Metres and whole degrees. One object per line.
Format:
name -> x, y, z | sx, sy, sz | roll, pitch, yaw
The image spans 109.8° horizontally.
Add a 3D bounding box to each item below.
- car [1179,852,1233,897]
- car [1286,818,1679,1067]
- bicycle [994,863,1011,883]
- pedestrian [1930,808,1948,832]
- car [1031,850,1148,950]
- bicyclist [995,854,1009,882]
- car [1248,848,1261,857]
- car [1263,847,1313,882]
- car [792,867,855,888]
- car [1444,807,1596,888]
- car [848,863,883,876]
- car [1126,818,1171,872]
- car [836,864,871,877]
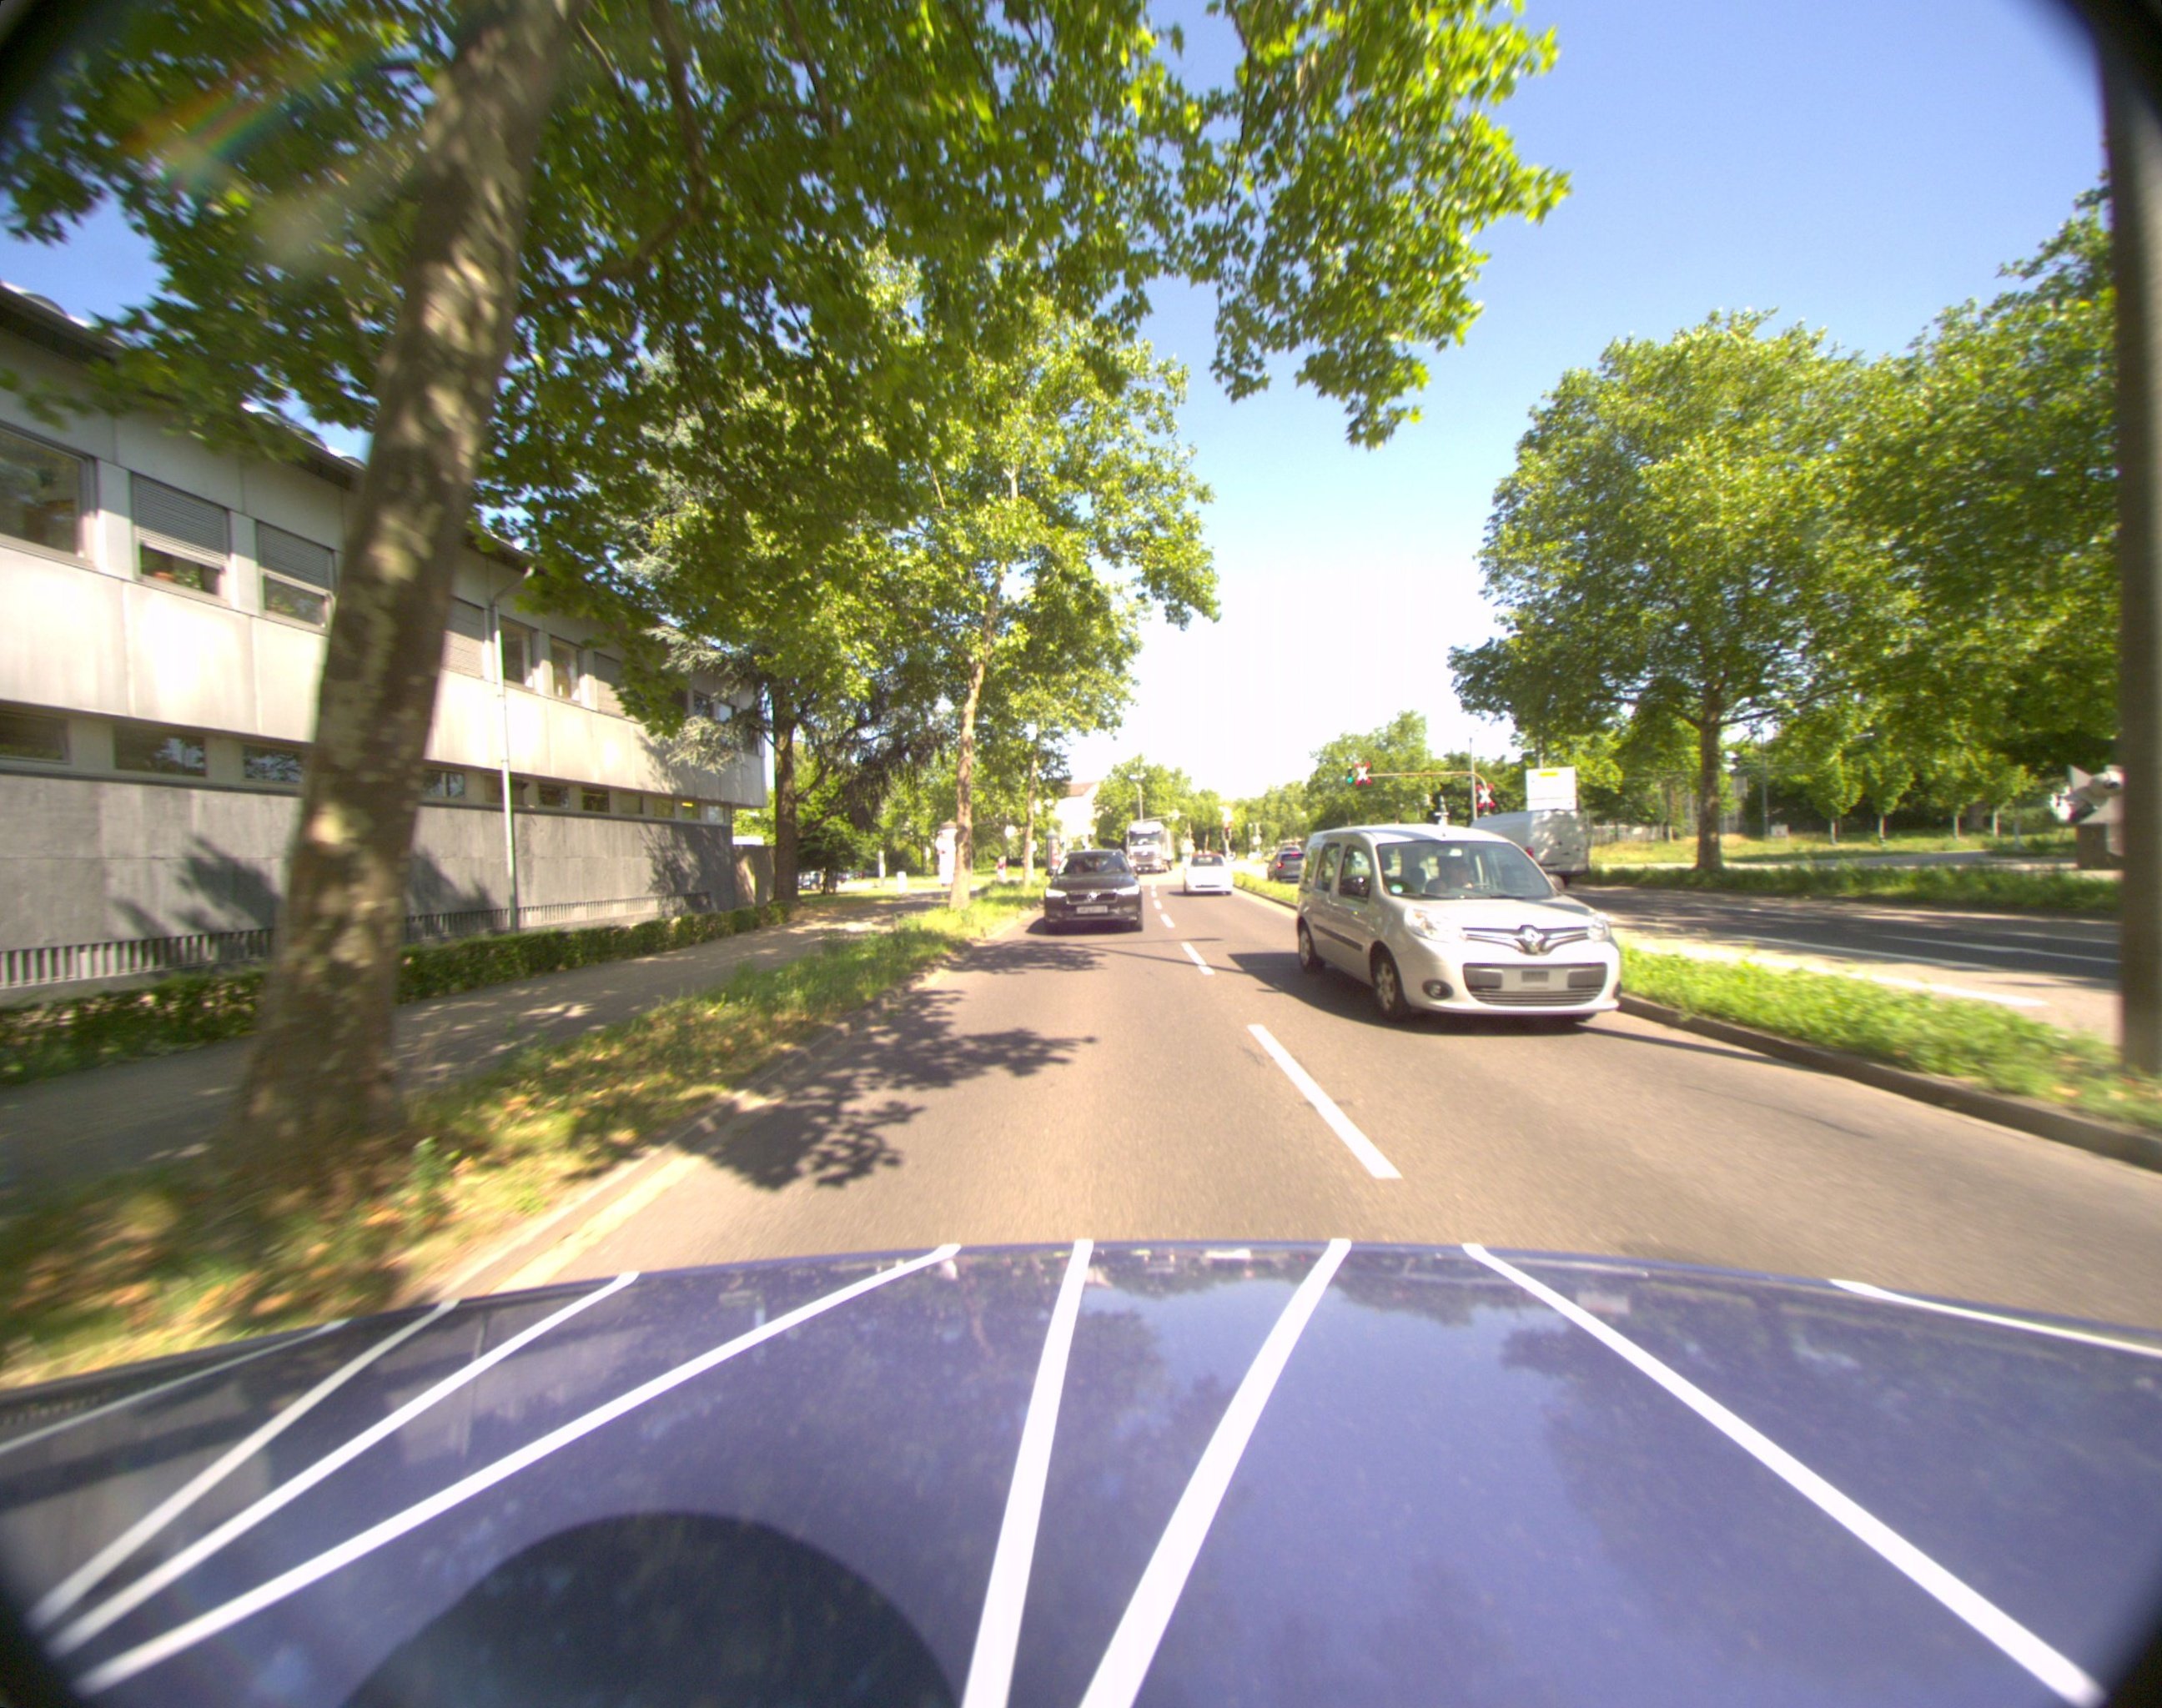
car -> 4.569, 0.692, 28.211 | 1.688, 1.482, 4.377 | -2, 0, 6
car -> 3.543, 0.642, 7.797 | 1.876, 1.829, 4.376 | 0, 0, 3
bicycle -> -5.063, 1.215, 48.995 | 0.693, 1.178, 2.126 | -3, 0, 4
pedestrian -> 75.088, -2.952, 66.496 | 0.618, 2.079, 0.755 | -3, 1, 6
car -> 0.319, 0.780, 15.165 | 1.903, 1.605, 4.874 | -3, 0, 4
bicyclist -> -5.081, 0.895, 48.972 | 0.702, 1.776, 0.810 | -3, 1, 4
car -> 40.778, -0.404, 178.498 | 1.995, 2.002, 4.007 | -3, 0, 26
car -> 9.681, 0.452, 35.791 | 1.697, 1.499, 4.131 | -2, 0, 8
car -> -22.724, 2.072, 67.245 | 2.137, 1.490, 5.127 | -2, 1, 29
car -> 15.994, -0.235, 28.302 | 2.064, 2.598, 7.220 | -1, 0, 6
car -> -28.562, 2.079, 100.853 | 1.995, 1.482, 4.361 | -3, 1, 25
car -> 5.430, -0.664, 59.913 | 2.901, 3.898, 7.146 | -2, 0, 9
car -> -30.487, 2.162, 101.889 | 1.995, 1.482, 4.362 | -3, 0, 25
